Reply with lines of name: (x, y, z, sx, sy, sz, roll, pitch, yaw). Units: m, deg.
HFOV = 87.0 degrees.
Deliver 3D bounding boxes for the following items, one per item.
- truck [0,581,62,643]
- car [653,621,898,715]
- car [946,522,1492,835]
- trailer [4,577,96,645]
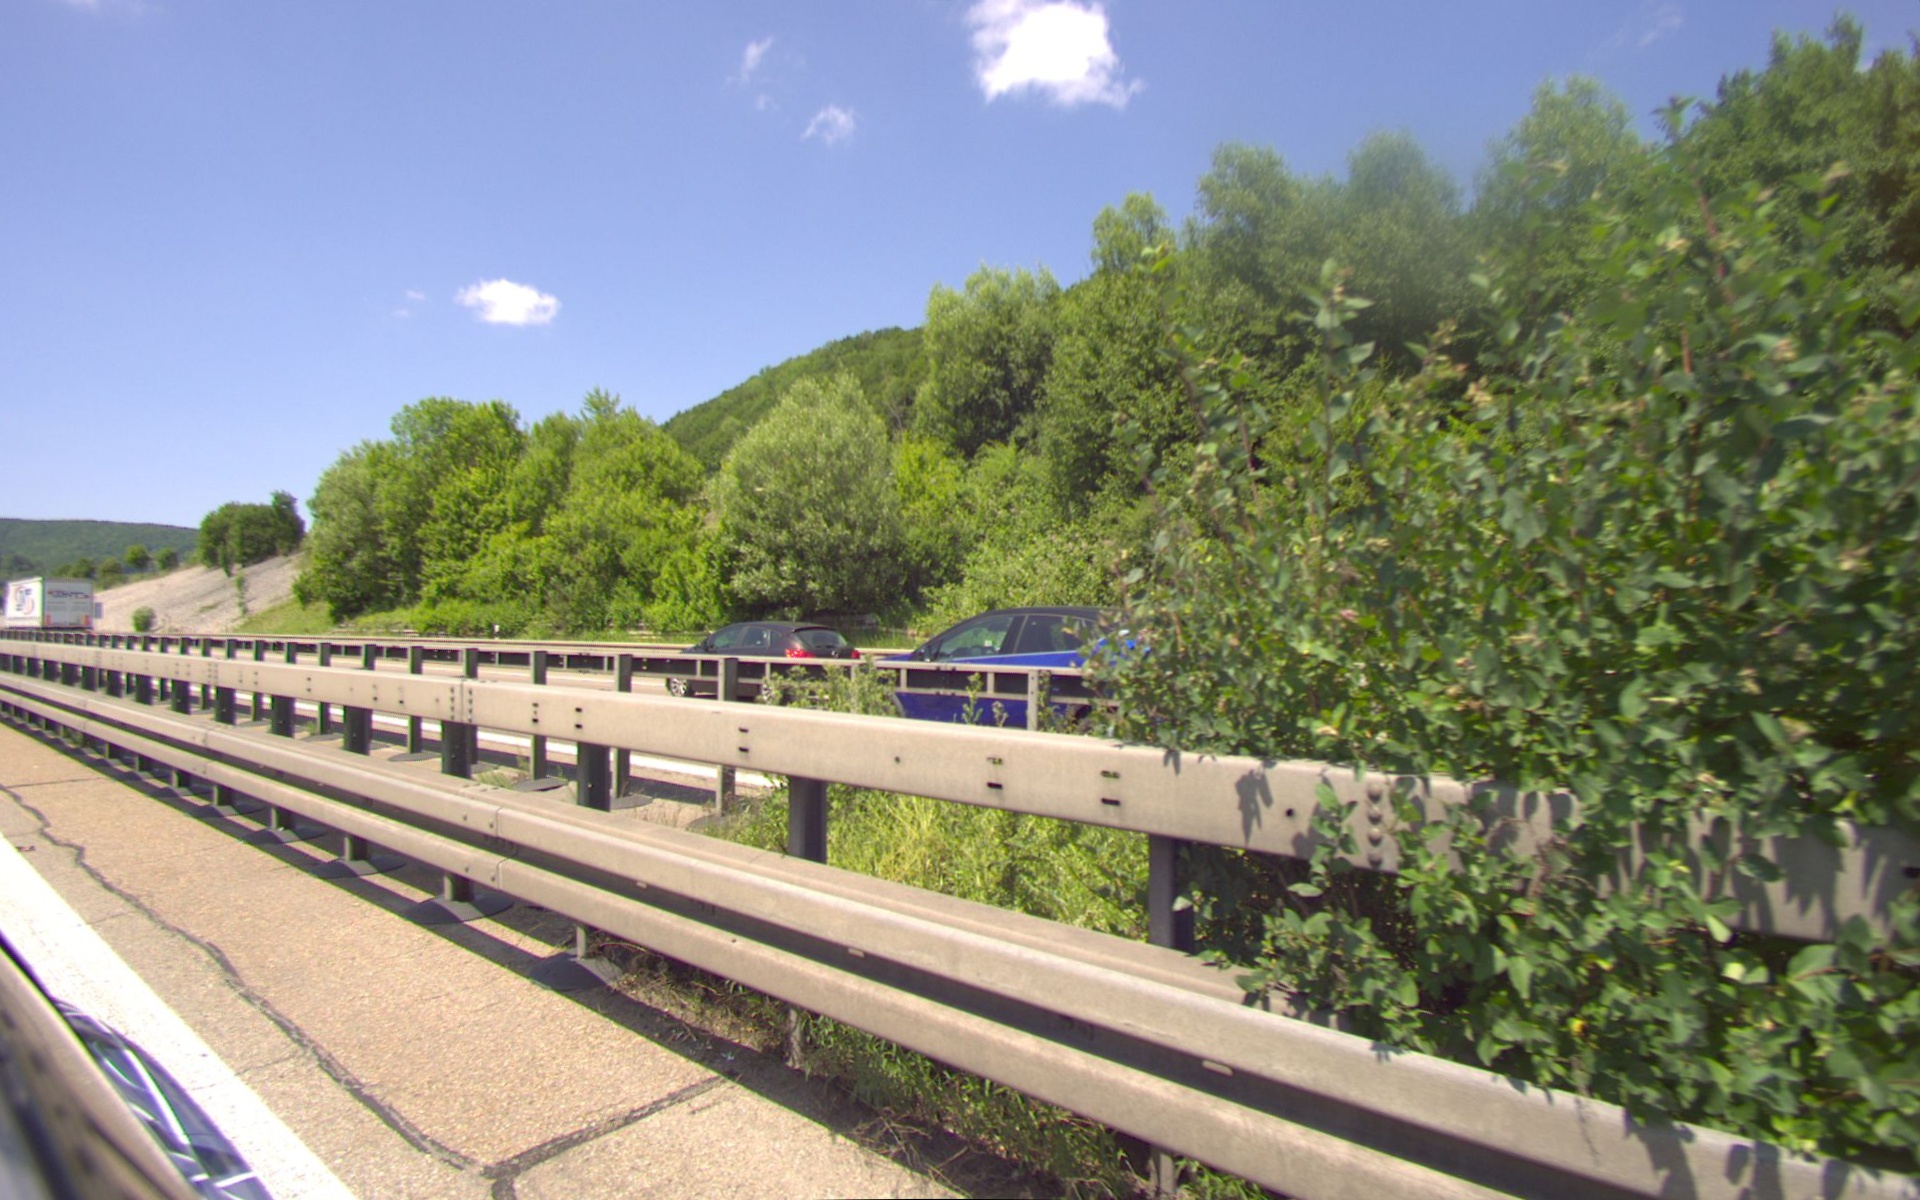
truck: (-65.638, 0.905, 71.092, 5.844, 4.133, 2.879, -1, -3, 41)
car: (-3.303, 1.093, 17.639, 4.431, 1.431, 1.850, -1, -2, 41)
car: (2.005, 0.521, 8.468, 3.998, 1.984, 1.895, -1, -1, 41)
trailer: (-59.033, 0.773, 65.528, 11.254, 4.107, 2.827, -1, -2, 40)
